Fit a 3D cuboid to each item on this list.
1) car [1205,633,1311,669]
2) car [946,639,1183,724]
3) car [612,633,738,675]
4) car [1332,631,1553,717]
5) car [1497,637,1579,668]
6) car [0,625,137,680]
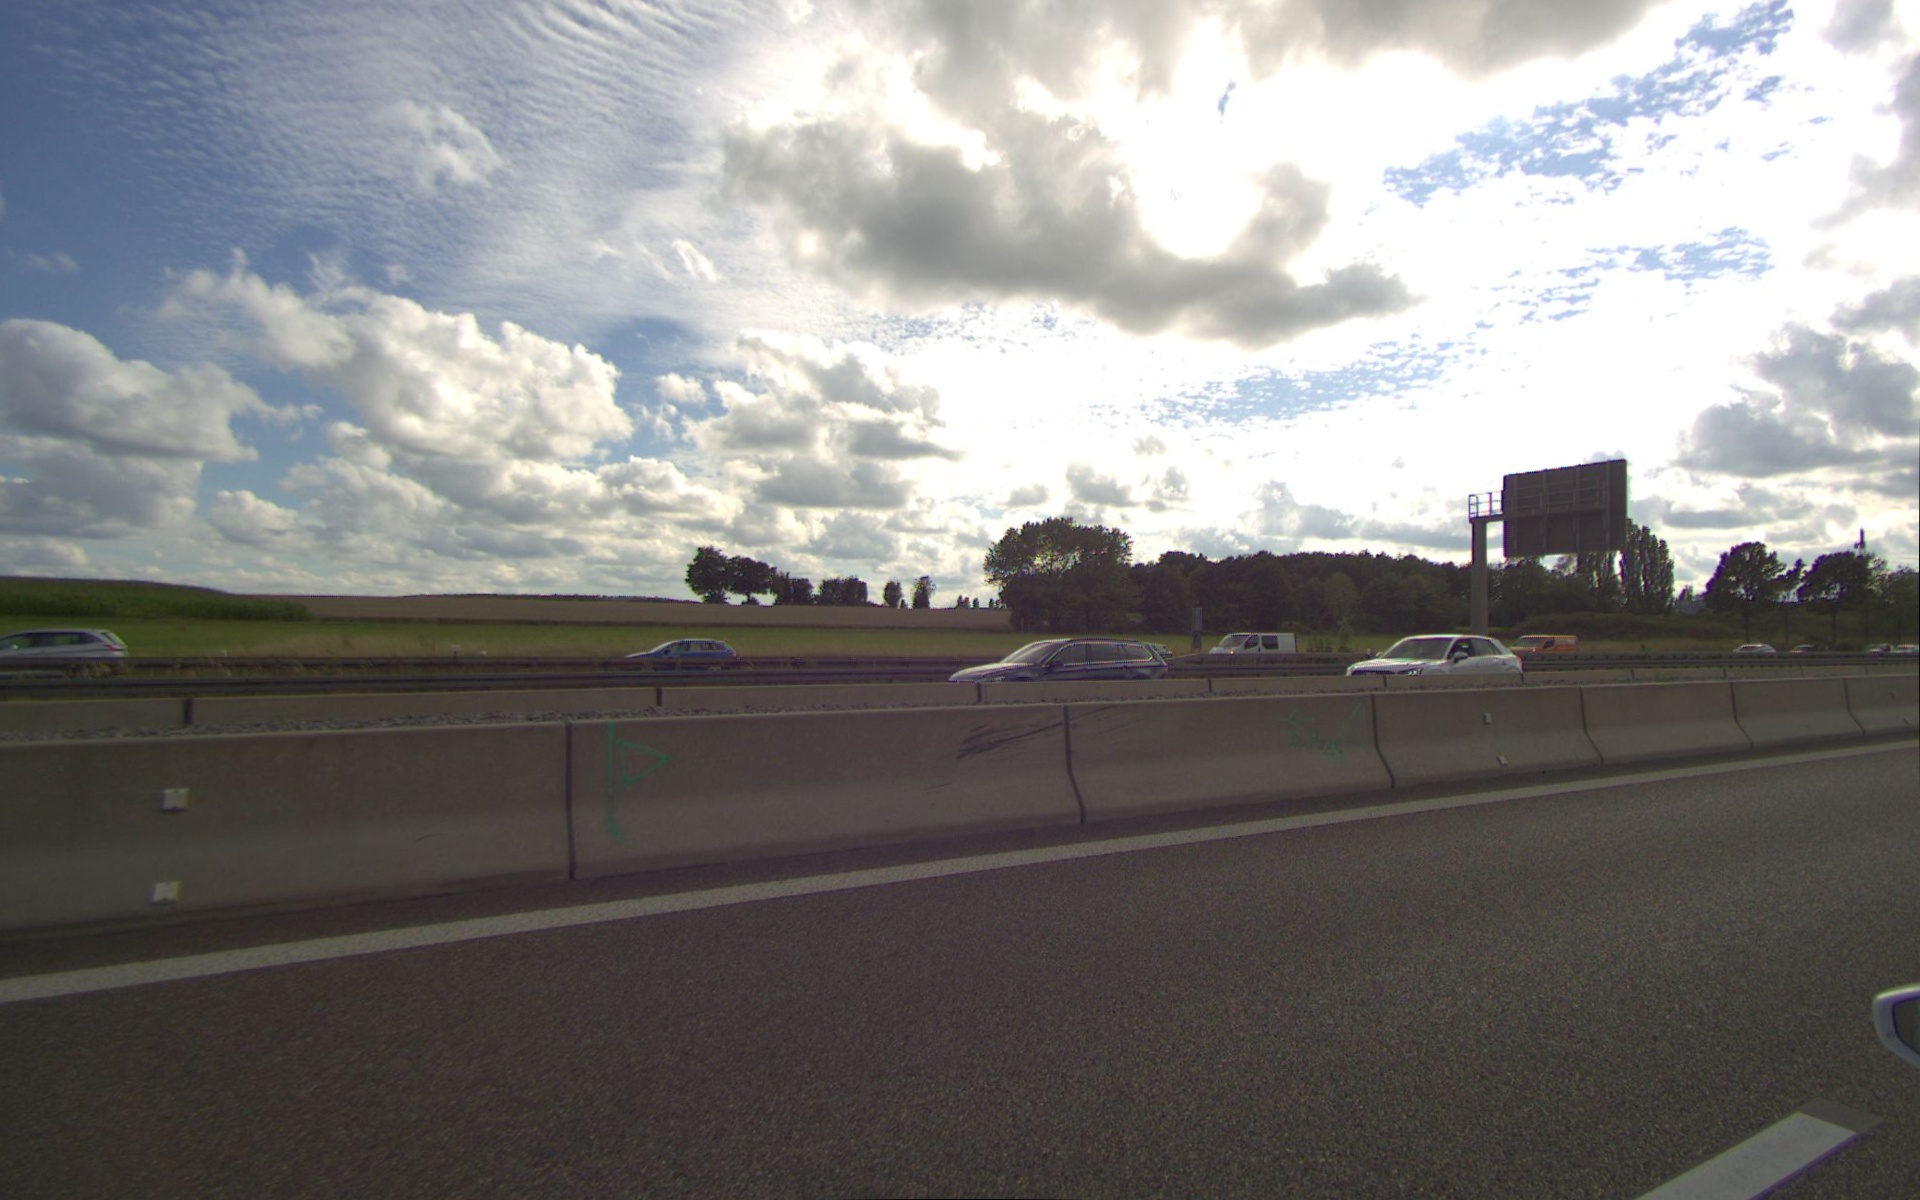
[{"bbox_3d":[15.234,2.576,51.241,5.571,1.722,1.983,2,-1,-32],"label":"car"},{"bbox_3d":[2.046,1.491,19.174,4.441,1.422,1.629,2,-1,-32],"label":"car"},{"bbox_3d":[-11.400,2.140,40.234,4.556,1.554,1.720,2,-1,-31],"label":"car"},{"bbox_3d":[9.834,1.429,20.387,4.662,1.552,1.755,2,-1,-30],"label":"car"},{"bbox_3d":[33.789,3.052,58.707,5.077,1.722,1.983,2,-1,-31],"label":"car"},{"bbox_3d":[-27.607,1.558,30.021,4.401,1.554,1.720,2,-1,-31],"label":"car"}]
